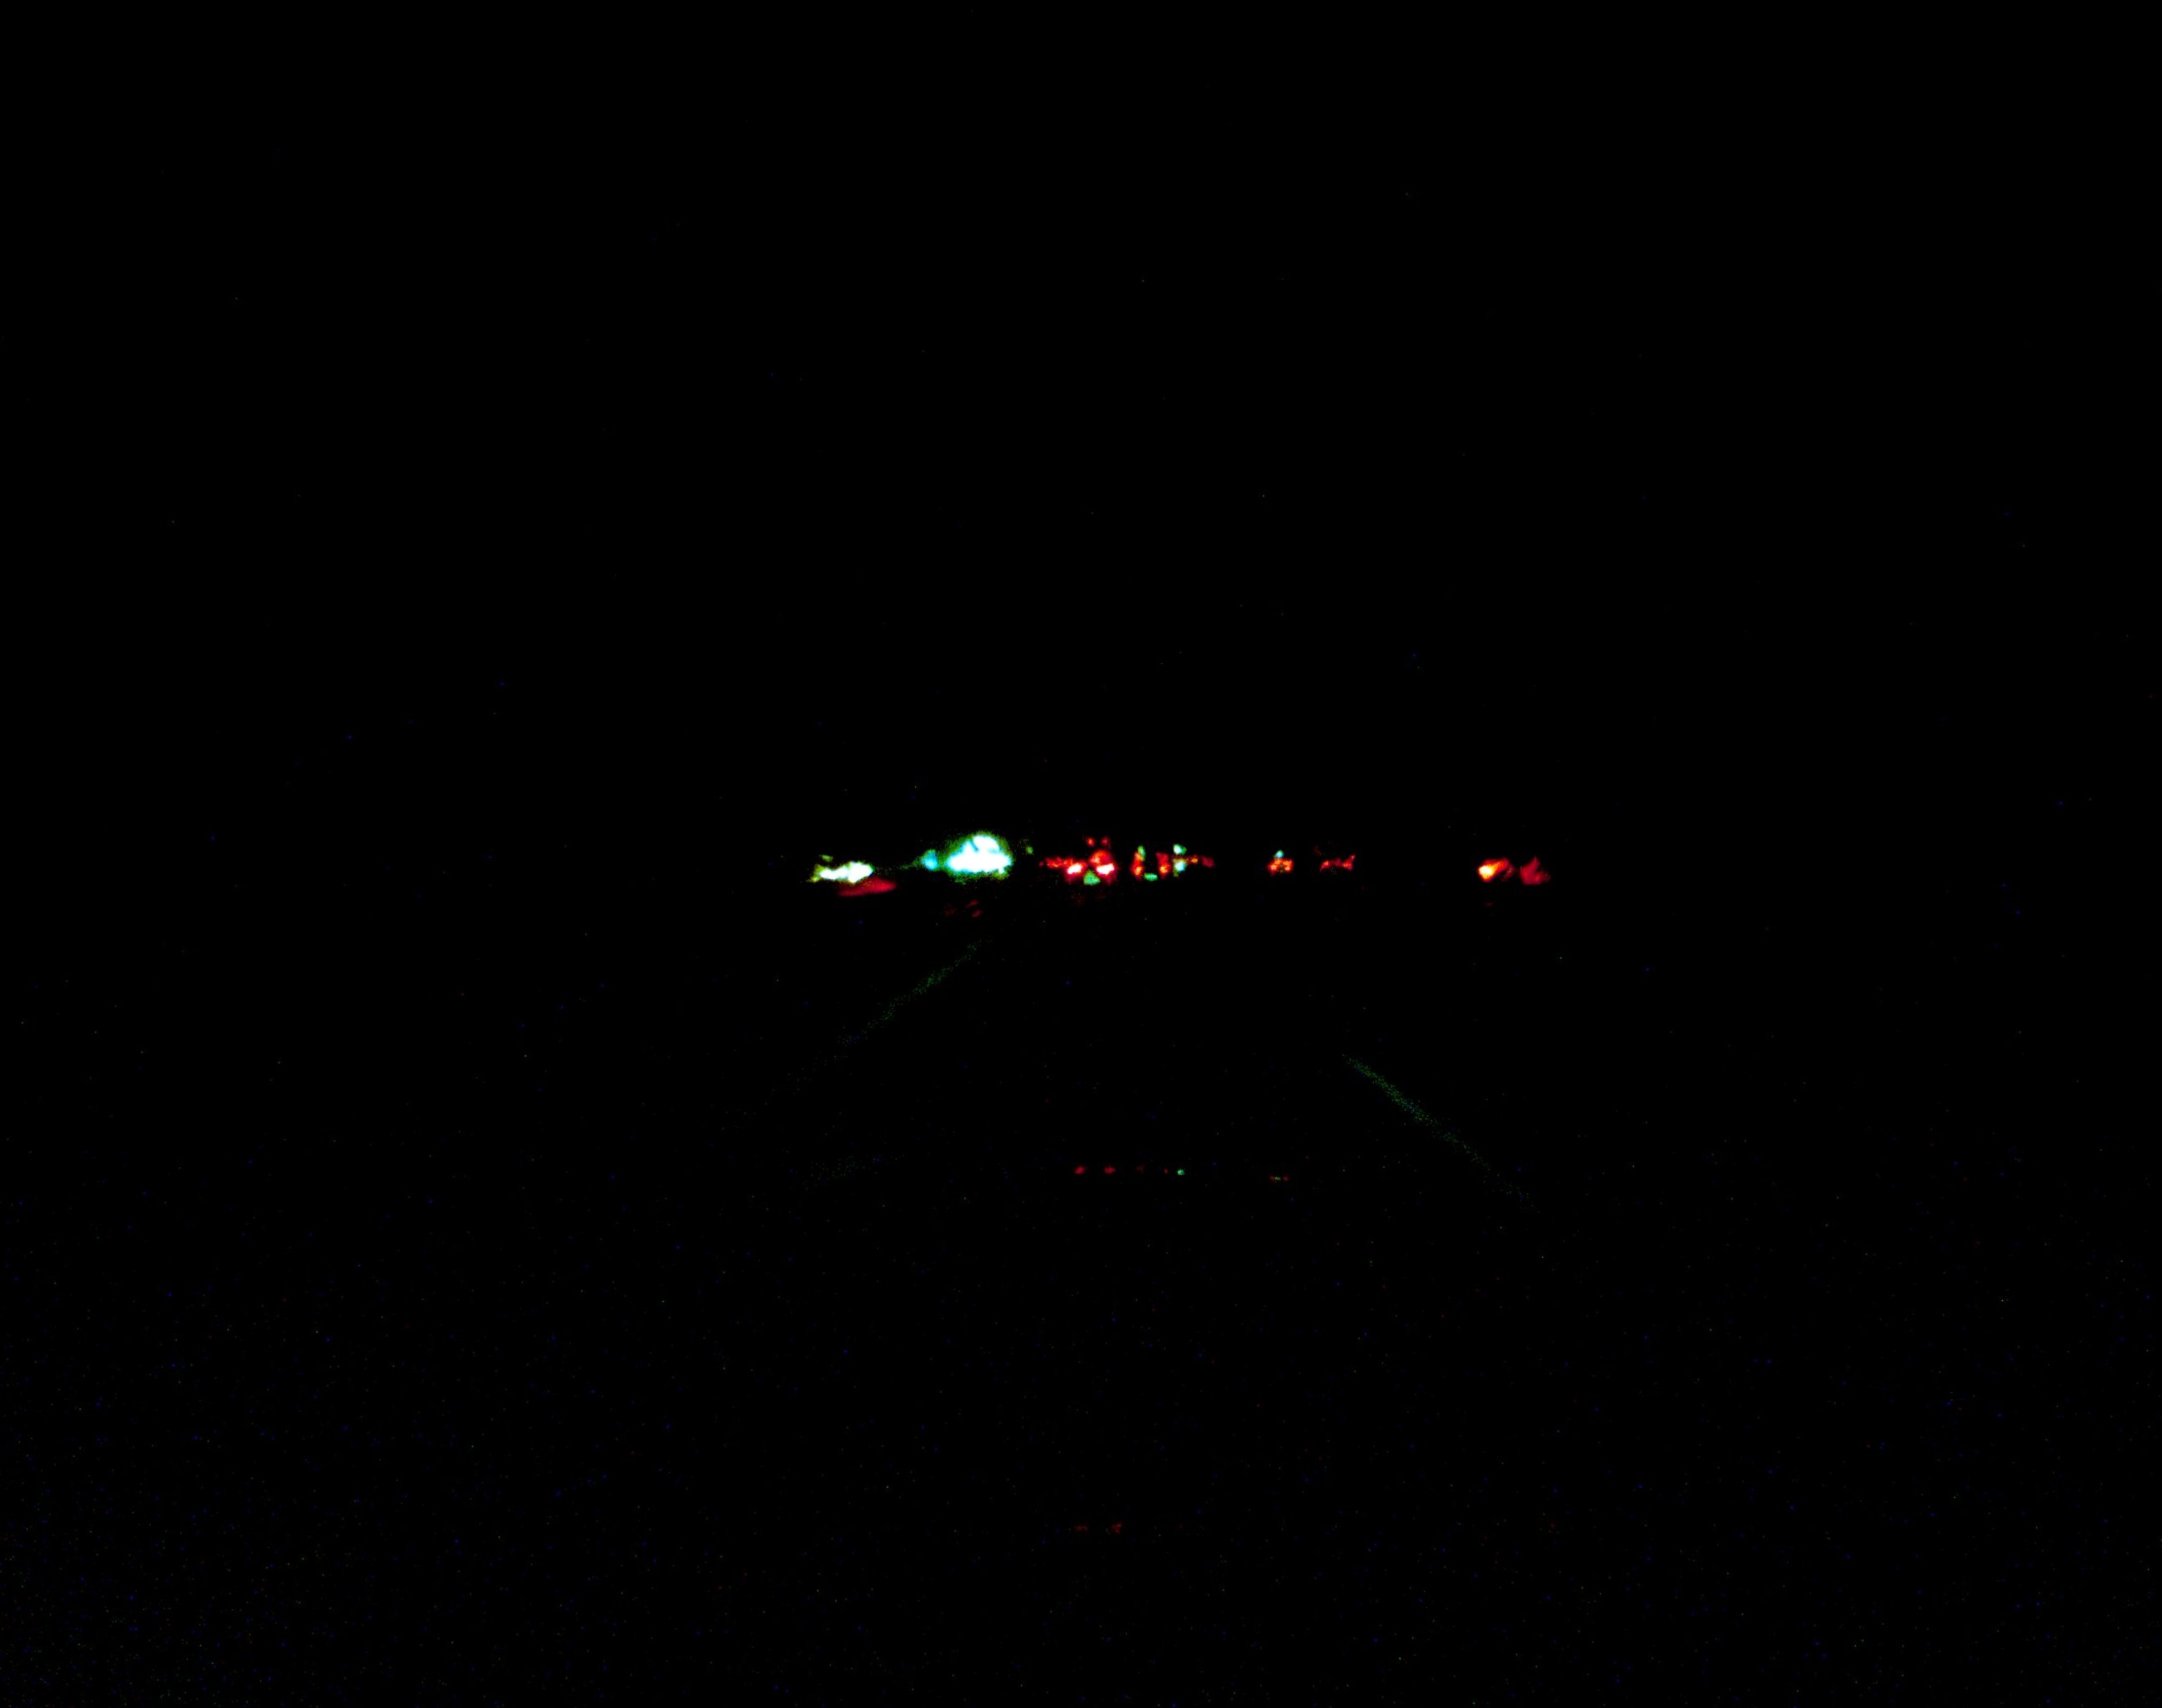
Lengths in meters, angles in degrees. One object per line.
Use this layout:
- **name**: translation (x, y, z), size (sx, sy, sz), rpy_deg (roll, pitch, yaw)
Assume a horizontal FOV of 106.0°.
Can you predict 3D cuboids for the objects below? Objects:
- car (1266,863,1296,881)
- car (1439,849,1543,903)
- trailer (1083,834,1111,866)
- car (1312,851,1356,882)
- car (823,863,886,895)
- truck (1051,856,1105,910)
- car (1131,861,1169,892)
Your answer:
- **car**: translation (19.250, 1.695, 78.471), size (1.986, 1.600, 4.001), rpy_deg (2, 0, 1)
- **car**: translation (16.596, 0.800, 33.343), size (2.052, 2.013, 5.459), rpy_deg (1, 1, 7)
- **trailer**: translation (2.264, -0.467, 123.499), size (2.734, 4.249, 13.346), rpy_deg (3, -2, -5)
- **car**: translation (17.455, 0.805, 56.419), size (2.221, 2.013, 4.008), rpy_deg (1, 0, 7)
- **car**: translation (-11.316, 1.198, 41.011), size (1.797, 1.406, 4.290), rpy_deg (2, 0, 2)
- **truck**: translation (-0.185, 1.197, 36.632), size (2.139, 2.077, 6.600), rpy_deg (2, 0, -1)
- **car**: translation (3.825, 1.224, 45.704), size (1.794, 1.617, 4.257), rpy_deg (-2, 0, 1)
